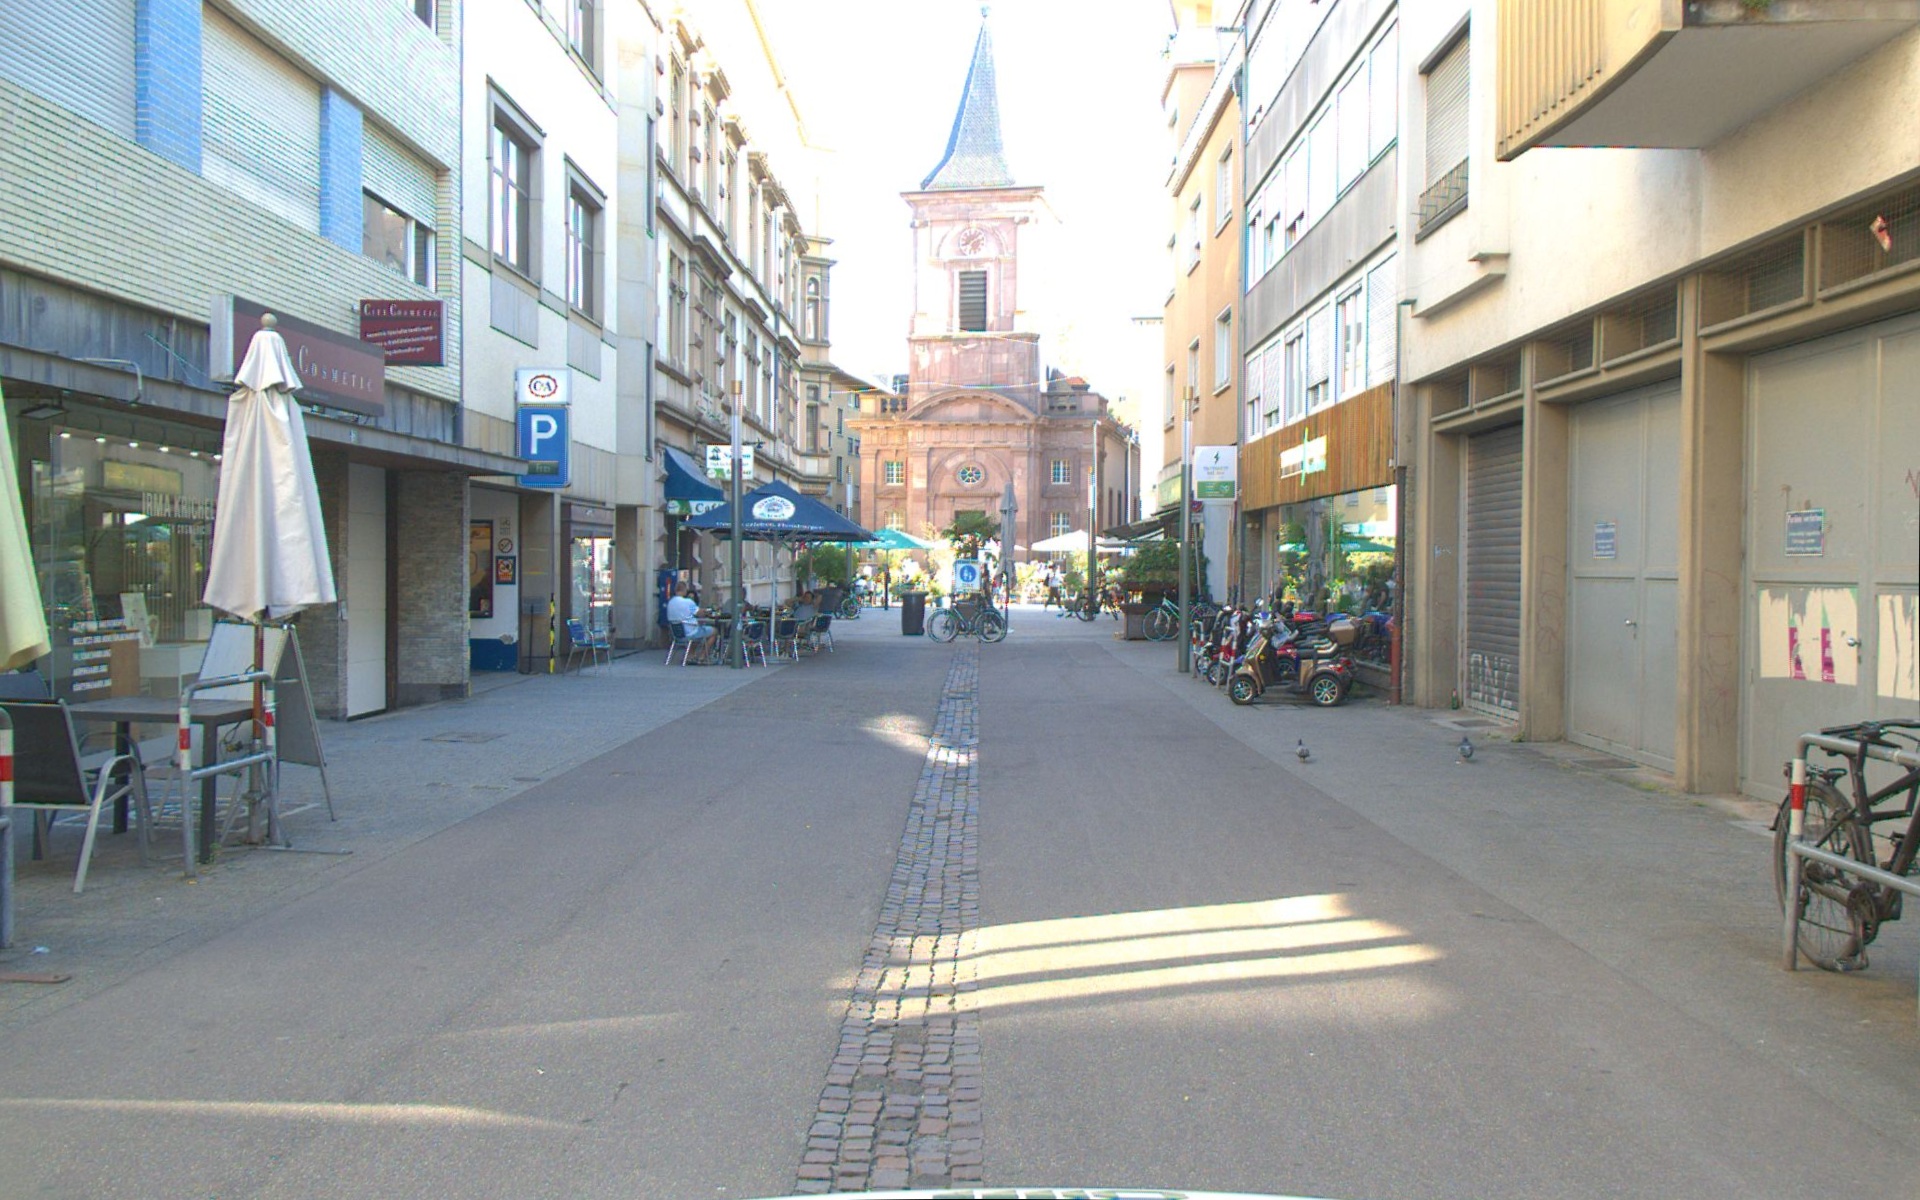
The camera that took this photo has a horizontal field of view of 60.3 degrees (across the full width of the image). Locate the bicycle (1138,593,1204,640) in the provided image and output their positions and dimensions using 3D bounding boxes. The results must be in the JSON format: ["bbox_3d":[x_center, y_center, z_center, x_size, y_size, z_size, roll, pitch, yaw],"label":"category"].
[{"bbox_3d":[4.674,0.355,36.576,1.432,1.022,0.573,0,1,7],"label":"bicycle"}]

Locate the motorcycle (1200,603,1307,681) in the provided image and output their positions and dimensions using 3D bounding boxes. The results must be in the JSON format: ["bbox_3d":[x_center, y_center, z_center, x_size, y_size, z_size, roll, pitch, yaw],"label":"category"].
[{"bbox_3d":[4.199,0.594,23.659,1.452,1.094,0.412,0,0,19],"label":"motorcycle"}]

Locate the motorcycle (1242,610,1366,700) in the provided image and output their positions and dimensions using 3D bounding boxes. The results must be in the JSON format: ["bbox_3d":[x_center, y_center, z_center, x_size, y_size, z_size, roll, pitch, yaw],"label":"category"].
[{"bbox_3d":[4.304,0.672,20.708,1.485,1.094,0.412,0,0,19],"label":"motorcycle"}]

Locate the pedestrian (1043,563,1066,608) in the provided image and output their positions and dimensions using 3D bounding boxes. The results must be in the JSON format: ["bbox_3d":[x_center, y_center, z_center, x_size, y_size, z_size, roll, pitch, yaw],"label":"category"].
[{"bbox_3d":[3.328,-0.522,58.239,0.767,1.583,0.535,0,1,5],"label":"pedestrian"}]

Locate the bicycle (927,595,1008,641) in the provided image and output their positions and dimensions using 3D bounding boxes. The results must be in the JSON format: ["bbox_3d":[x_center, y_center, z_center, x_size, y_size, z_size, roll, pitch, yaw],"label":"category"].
[{"bbox_3d":[0.158,0.403,36.949,1.787,1.022,0.381,0,1,-3],"label":"bicycle"}]

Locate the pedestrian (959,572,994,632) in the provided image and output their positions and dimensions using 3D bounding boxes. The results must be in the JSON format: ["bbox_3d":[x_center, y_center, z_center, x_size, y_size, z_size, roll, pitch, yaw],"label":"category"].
[{"bbox_3d":[0.422,0.041,41.499,0.865,1.489,0.731,0,1,1],"label":"pedestrian"}]

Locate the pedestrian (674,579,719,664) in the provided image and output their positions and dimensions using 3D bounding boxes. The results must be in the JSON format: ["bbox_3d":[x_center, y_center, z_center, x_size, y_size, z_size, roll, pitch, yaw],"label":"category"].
[{"bbox_3d":[-4.397,0.347,27.592,0.705,1.392,0.708,0,1,-12],"label":"pedestrian"}]

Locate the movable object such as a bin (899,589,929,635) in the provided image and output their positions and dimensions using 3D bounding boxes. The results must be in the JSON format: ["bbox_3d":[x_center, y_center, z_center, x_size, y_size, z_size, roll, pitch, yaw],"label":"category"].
[{"bbox_3d":[-1.119,0.290,40.258,0.707,1.093,0.374,0,1,-1],"label":"movable object such as a bin"}]

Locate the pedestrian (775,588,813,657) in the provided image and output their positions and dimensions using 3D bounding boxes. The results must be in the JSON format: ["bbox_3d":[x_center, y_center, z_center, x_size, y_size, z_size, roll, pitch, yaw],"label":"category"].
[{"bbox_3d":[-3.038,0.406,30.178,0.679,1.236,0.582,0,1,-8],"label":"pedestrian"}]

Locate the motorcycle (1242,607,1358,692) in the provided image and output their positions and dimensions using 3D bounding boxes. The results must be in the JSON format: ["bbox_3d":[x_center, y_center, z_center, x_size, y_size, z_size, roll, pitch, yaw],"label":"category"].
[{"bbox_3d":[4.469,0.639,21.742,1.452,1.094,0.412,0,0,19],"label":"motorcycle"}]

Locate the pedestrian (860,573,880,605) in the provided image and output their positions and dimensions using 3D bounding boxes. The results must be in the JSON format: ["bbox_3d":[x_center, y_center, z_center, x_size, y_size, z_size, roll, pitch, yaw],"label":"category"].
[{"bbox_3d":[-3.526,-0.431,64.881,0.685,1.239,0.720,0,1,6],"label":"pedestrian"}]

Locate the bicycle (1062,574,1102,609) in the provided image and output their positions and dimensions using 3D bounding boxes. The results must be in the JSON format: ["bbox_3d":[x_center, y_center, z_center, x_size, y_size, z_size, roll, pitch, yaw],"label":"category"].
[{"bbox_3d":[4.618,-0.325,62.796,1.568,1.330,0.362,0,1,-29],"label":"bicycle"}]

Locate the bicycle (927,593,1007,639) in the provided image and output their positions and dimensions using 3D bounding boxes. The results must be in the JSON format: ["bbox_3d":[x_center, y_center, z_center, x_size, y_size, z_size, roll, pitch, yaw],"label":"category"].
[{"bbox_3d":[0.157,0.359,37.337,1.787,1.022,0.381,0,1,-3],"label":"bicycle"}]

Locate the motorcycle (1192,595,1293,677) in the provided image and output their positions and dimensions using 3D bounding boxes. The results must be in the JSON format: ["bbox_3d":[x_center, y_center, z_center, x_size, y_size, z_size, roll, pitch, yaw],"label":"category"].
[{"bbox_3d":[4.197,0.527,24.568,1.452,1.202,0.412,0,0,16],"label":"motorcycle"}]

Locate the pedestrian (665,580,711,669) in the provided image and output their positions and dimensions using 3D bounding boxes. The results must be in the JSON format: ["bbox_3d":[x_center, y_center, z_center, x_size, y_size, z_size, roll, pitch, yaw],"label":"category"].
[{"bbox_3d":[-4.388,0.385,26.661,0.695,1.392,0.718,0,1,-12],"label":"pedestrian"}]

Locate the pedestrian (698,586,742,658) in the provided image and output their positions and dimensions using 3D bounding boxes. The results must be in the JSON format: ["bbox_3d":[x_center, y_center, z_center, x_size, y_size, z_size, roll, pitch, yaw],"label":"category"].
[{"bbox_3d":[-4.271,0.385,29.457,0.750,1.254,0.830,0,1,-7],"label":"pedestrian"}]

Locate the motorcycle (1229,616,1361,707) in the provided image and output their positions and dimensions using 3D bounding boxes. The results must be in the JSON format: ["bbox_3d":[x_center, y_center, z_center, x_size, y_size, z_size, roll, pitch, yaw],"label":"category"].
[{"bbox_3d":[4.040,0.729,19.966,1.531,1.060,0.373,0,0,19],"label":"motorcycle"}]

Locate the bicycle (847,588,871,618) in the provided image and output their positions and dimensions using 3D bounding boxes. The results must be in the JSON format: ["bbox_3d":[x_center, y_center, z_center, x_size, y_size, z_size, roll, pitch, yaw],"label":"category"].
[{"bbox_3d":[-3.016,0.080,49.402,0.447,0.864,2.148,0,1,4],"label":"bicycle"}]

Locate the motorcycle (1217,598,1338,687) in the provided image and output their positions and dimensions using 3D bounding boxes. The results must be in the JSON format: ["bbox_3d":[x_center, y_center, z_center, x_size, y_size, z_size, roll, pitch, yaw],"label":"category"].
[{"bbox_3d":[4.405,0.578,22.941,1.590,1.195,0.481,0,0,19],"label":"motorcycle"}]

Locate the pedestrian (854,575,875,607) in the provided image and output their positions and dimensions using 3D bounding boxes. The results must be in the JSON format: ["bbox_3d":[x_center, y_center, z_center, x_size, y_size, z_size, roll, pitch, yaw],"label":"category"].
[{"bbox_3d":[-3.645,-0.346,63.451,0.685,1.239,0.720,0,1,6],"label":"pedestrian"}]

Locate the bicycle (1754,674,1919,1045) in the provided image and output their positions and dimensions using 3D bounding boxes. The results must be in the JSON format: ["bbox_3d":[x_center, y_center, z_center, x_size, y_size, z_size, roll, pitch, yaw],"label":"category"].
[{"bbox_3d":[3.420,0.884,5.960,0.437,1.160,1.711,1,0,6],"label":"bicycle"}]

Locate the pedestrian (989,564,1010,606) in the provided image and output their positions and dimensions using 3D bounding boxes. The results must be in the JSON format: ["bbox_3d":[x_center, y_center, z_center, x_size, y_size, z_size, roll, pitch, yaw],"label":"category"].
[{"bbox_3d":[1.574,-0.588,66.226,0.605,1.669,0.650,0,1,-33],"label":"pedestrian"}]

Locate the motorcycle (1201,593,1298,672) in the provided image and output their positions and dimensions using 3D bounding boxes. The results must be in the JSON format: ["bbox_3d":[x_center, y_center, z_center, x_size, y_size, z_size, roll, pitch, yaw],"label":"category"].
[{"bbox_3d":[4.493,0.501,25.641,1.452,1.202,0.412,0,0,16],"label":"motorcycle"}]
